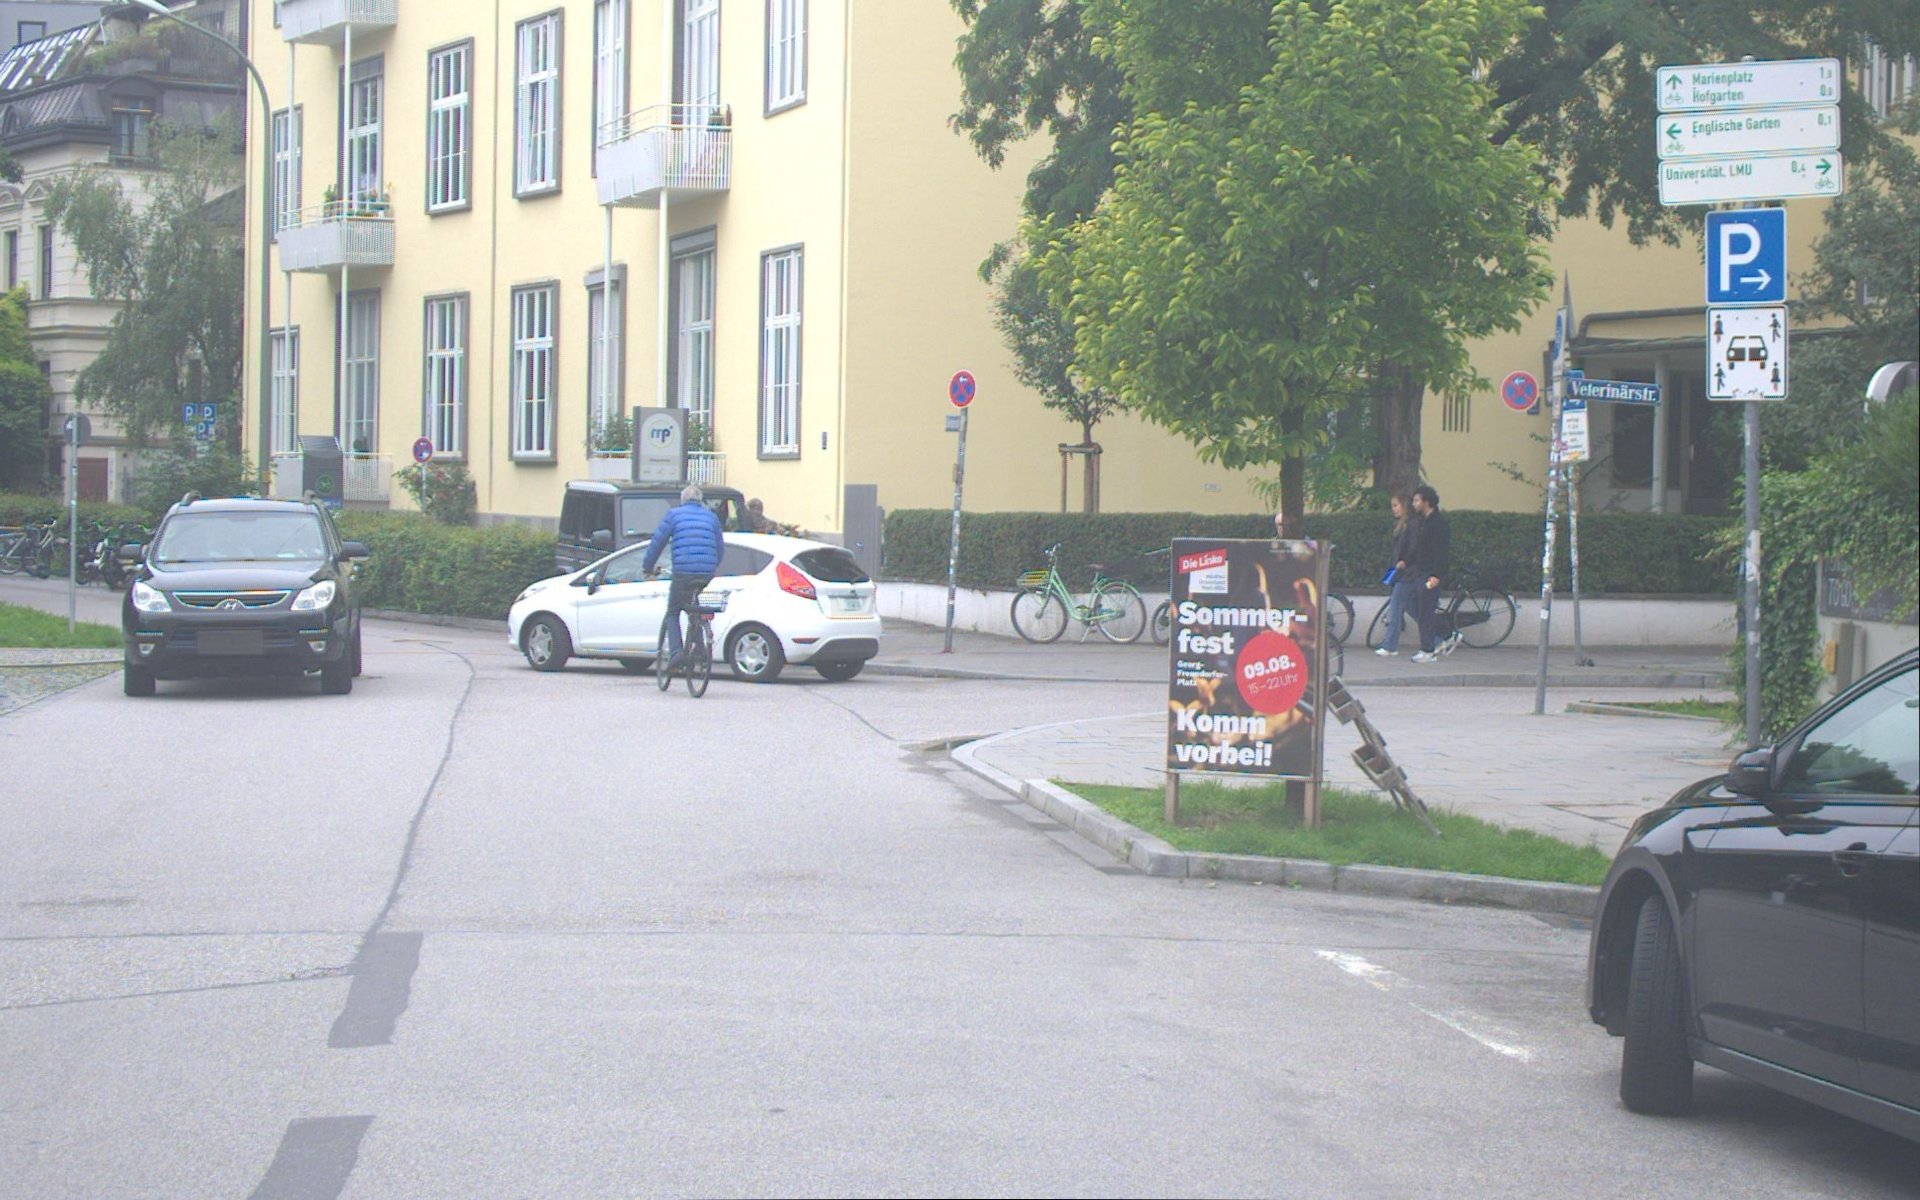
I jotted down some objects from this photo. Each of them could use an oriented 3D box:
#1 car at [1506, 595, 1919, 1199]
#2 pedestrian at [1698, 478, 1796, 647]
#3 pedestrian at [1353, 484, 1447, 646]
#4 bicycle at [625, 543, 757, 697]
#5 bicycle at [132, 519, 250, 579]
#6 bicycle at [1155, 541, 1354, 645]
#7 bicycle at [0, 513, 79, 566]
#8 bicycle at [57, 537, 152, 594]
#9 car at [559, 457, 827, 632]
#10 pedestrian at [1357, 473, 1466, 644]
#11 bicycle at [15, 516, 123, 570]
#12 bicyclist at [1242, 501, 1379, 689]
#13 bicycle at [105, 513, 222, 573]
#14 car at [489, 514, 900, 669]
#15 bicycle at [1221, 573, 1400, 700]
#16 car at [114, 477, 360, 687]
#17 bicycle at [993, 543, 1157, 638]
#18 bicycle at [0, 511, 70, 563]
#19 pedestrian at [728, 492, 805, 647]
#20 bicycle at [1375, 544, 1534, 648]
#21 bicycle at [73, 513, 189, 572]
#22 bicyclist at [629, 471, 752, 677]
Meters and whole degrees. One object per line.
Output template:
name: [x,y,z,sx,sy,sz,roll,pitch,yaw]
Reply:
car: [2.864,0.804,8.432,1.714,1.390,4.001,4,1,-10]
pedestrian: [8.734,-0.424,38.177,0.850,1.851,0.767,0,1,-7]
pedestrian: [4.815,-0.389,37.670,0.826,1.740,0.741,1,2,-7]
bicycle: [-2.384,0.151,30.162,0.920,1.248,2.322,1,2,-10]
bicycle: [-13.435,-0.888,60.095,1.972,1.025,0.619,0,2,-44]
bicycle: [3.337,-0.085,38.890,2.169,1.111,0.640,1,2,10]
bicycle: [-18.646,-1.213,68.639,1.972,1.025,0.619,0,2,-44]
bicycle: [-15.721,-0.639,63.212,0.533,1.025,1.975,2,1,26]
car: [-3.136,-0.684,39.491,1.873,1.881,4.620,0,2,-20]
pedestrian: [4.813,-0.449,36.674,0.989,1.803,0.660,1,2,-7]
bicycle: [-17.305,-1.103,66.818,1.972,1.025,0.619,0,2,-44]
bicyclist: [3.088,-0.060,30.227,0.876,1.603,1.048,2,2,25]
bicycle: [-14.129,-1.004,61.004,1.972,1.025,0.619,0,2,-44]
car: [-2.654,-0.121,34.218,3.721,1.401,1.750,2,2,29]
bicycle: [3.109,0.299,30.315,0.877,1.016,2.188,2,2,25]
car: [-6.451,-0.222,30.874,1.993,1.713,4.617,1,2,-11]
bicycle: [1.323,-0.116,39.934,1.948,1.081,0.528,0,0,37]
bicycle: [-18.579,-1.271,68.691,0.409,1.011,1.534,2,3,43]
pedestrian: [-2.223,-0.358,39.398,0.848,1.751,0.954,0,2,-5]
bicycle: [5.554,-0.047,38.640,1.681,1.126,0.460,1,2,-7]
bicycle: [-14.939,-1.036,61.975,1.972,1.025,0.619,0,2,-44]
bicyclist: [-2.376,-0.240,30.176,0.914,1.758,1.216,1,2,-11]
